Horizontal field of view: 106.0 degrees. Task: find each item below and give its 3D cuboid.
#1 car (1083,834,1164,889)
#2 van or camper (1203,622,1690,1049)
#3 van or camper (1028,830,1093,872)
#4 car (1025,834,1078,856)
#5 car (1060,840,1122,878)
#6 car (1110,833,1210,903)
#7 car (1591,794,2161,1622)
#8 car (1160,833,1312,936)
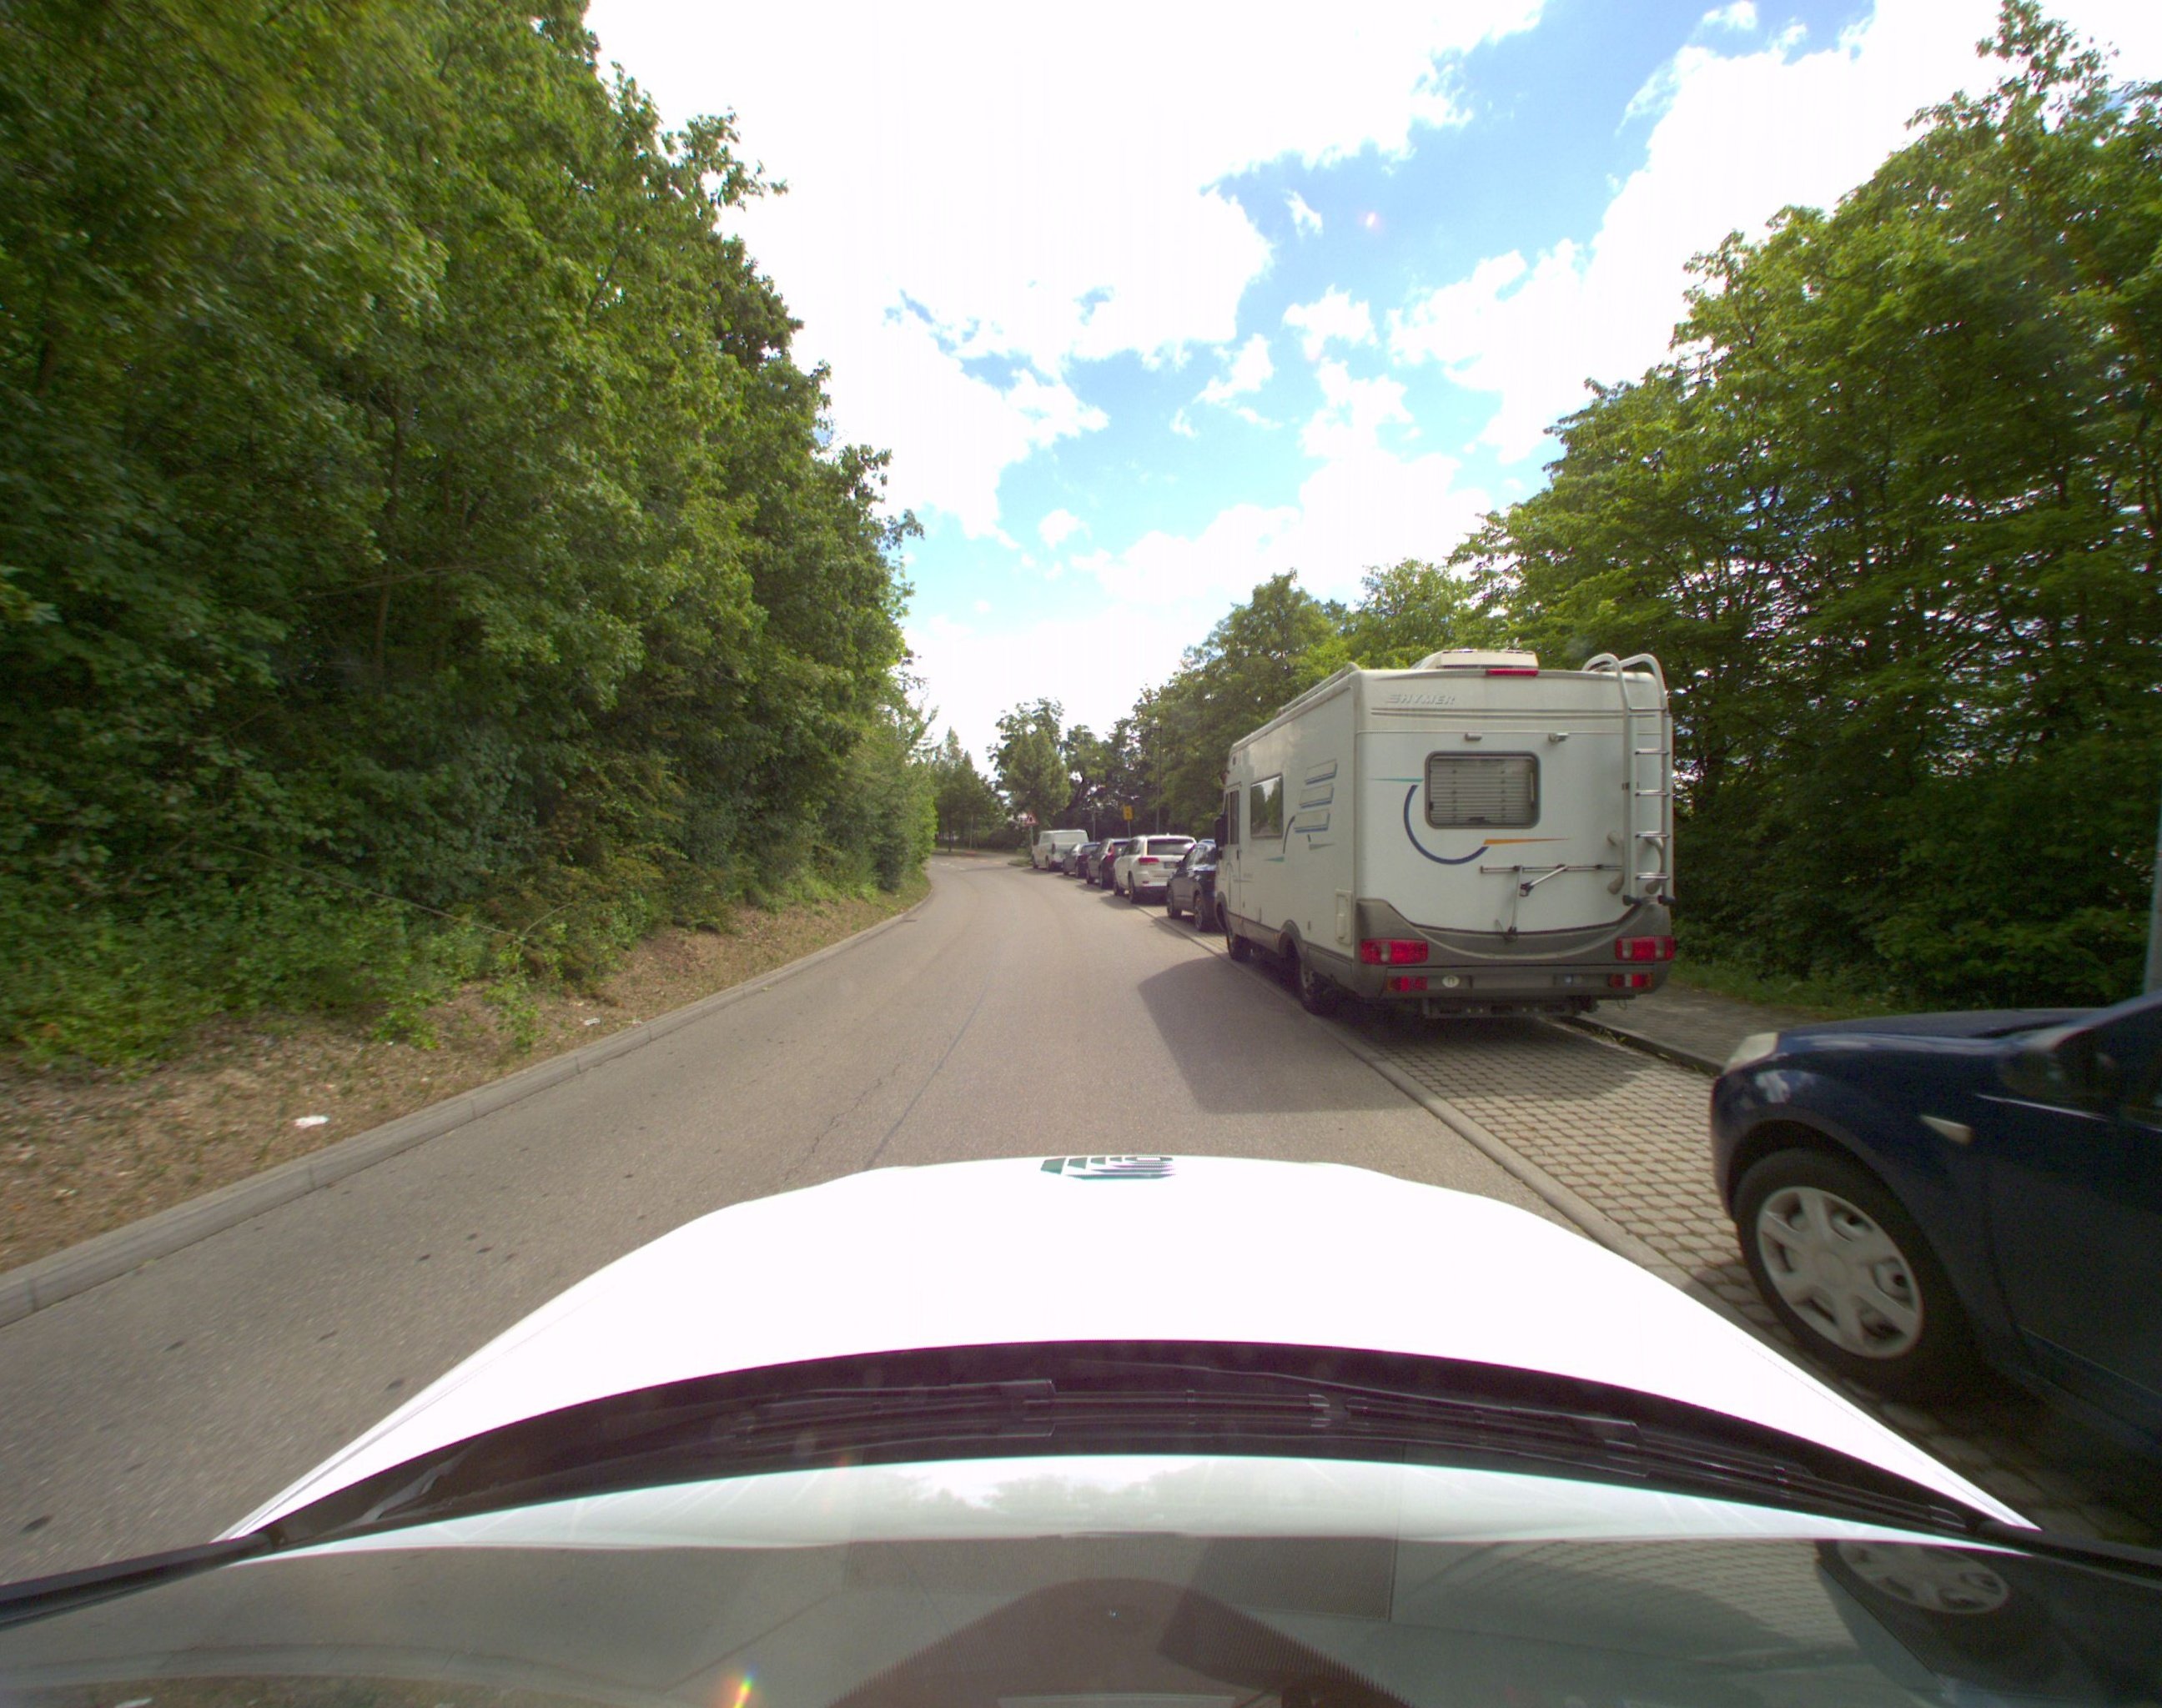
[{"bbox_3d":[1.362,0.190,27.930,1.992,1.626,4.267,-3,2,-8],"label":"car"},{"bbox_3d":[2.946,-0.145,8.590,2.325,2.869,6.148,0,0,-1],"label":"van or camper"},{"bbox_3d":[-1.094,-0.222,40.241,1.997,1.919,5.239,-2,2,-15],"label":"van or camper"},{"bbox_3d":[-2.147,-0.667,58.170,3.539,1.480,1.775,1,3,-13],"label":"car"},{"bbox_3d":[0.353,0.171,34.376,1.799,1.464,3.984,-1,1,-12],"label":"car"},{"bbox_3d":[1.991,0.293,21.950,1.869,1.689,4.571,1,1,-5],"label":"car"},{"bbox_3d":[2.833,0.628,1.164,1.724,1.519,3.887,-1,-1,-1],"label":"car"},{"bbox_3d":[2.712,0.482,15.180,1.708,1.591,3.993,3,0,-5],"label":"car"}]
